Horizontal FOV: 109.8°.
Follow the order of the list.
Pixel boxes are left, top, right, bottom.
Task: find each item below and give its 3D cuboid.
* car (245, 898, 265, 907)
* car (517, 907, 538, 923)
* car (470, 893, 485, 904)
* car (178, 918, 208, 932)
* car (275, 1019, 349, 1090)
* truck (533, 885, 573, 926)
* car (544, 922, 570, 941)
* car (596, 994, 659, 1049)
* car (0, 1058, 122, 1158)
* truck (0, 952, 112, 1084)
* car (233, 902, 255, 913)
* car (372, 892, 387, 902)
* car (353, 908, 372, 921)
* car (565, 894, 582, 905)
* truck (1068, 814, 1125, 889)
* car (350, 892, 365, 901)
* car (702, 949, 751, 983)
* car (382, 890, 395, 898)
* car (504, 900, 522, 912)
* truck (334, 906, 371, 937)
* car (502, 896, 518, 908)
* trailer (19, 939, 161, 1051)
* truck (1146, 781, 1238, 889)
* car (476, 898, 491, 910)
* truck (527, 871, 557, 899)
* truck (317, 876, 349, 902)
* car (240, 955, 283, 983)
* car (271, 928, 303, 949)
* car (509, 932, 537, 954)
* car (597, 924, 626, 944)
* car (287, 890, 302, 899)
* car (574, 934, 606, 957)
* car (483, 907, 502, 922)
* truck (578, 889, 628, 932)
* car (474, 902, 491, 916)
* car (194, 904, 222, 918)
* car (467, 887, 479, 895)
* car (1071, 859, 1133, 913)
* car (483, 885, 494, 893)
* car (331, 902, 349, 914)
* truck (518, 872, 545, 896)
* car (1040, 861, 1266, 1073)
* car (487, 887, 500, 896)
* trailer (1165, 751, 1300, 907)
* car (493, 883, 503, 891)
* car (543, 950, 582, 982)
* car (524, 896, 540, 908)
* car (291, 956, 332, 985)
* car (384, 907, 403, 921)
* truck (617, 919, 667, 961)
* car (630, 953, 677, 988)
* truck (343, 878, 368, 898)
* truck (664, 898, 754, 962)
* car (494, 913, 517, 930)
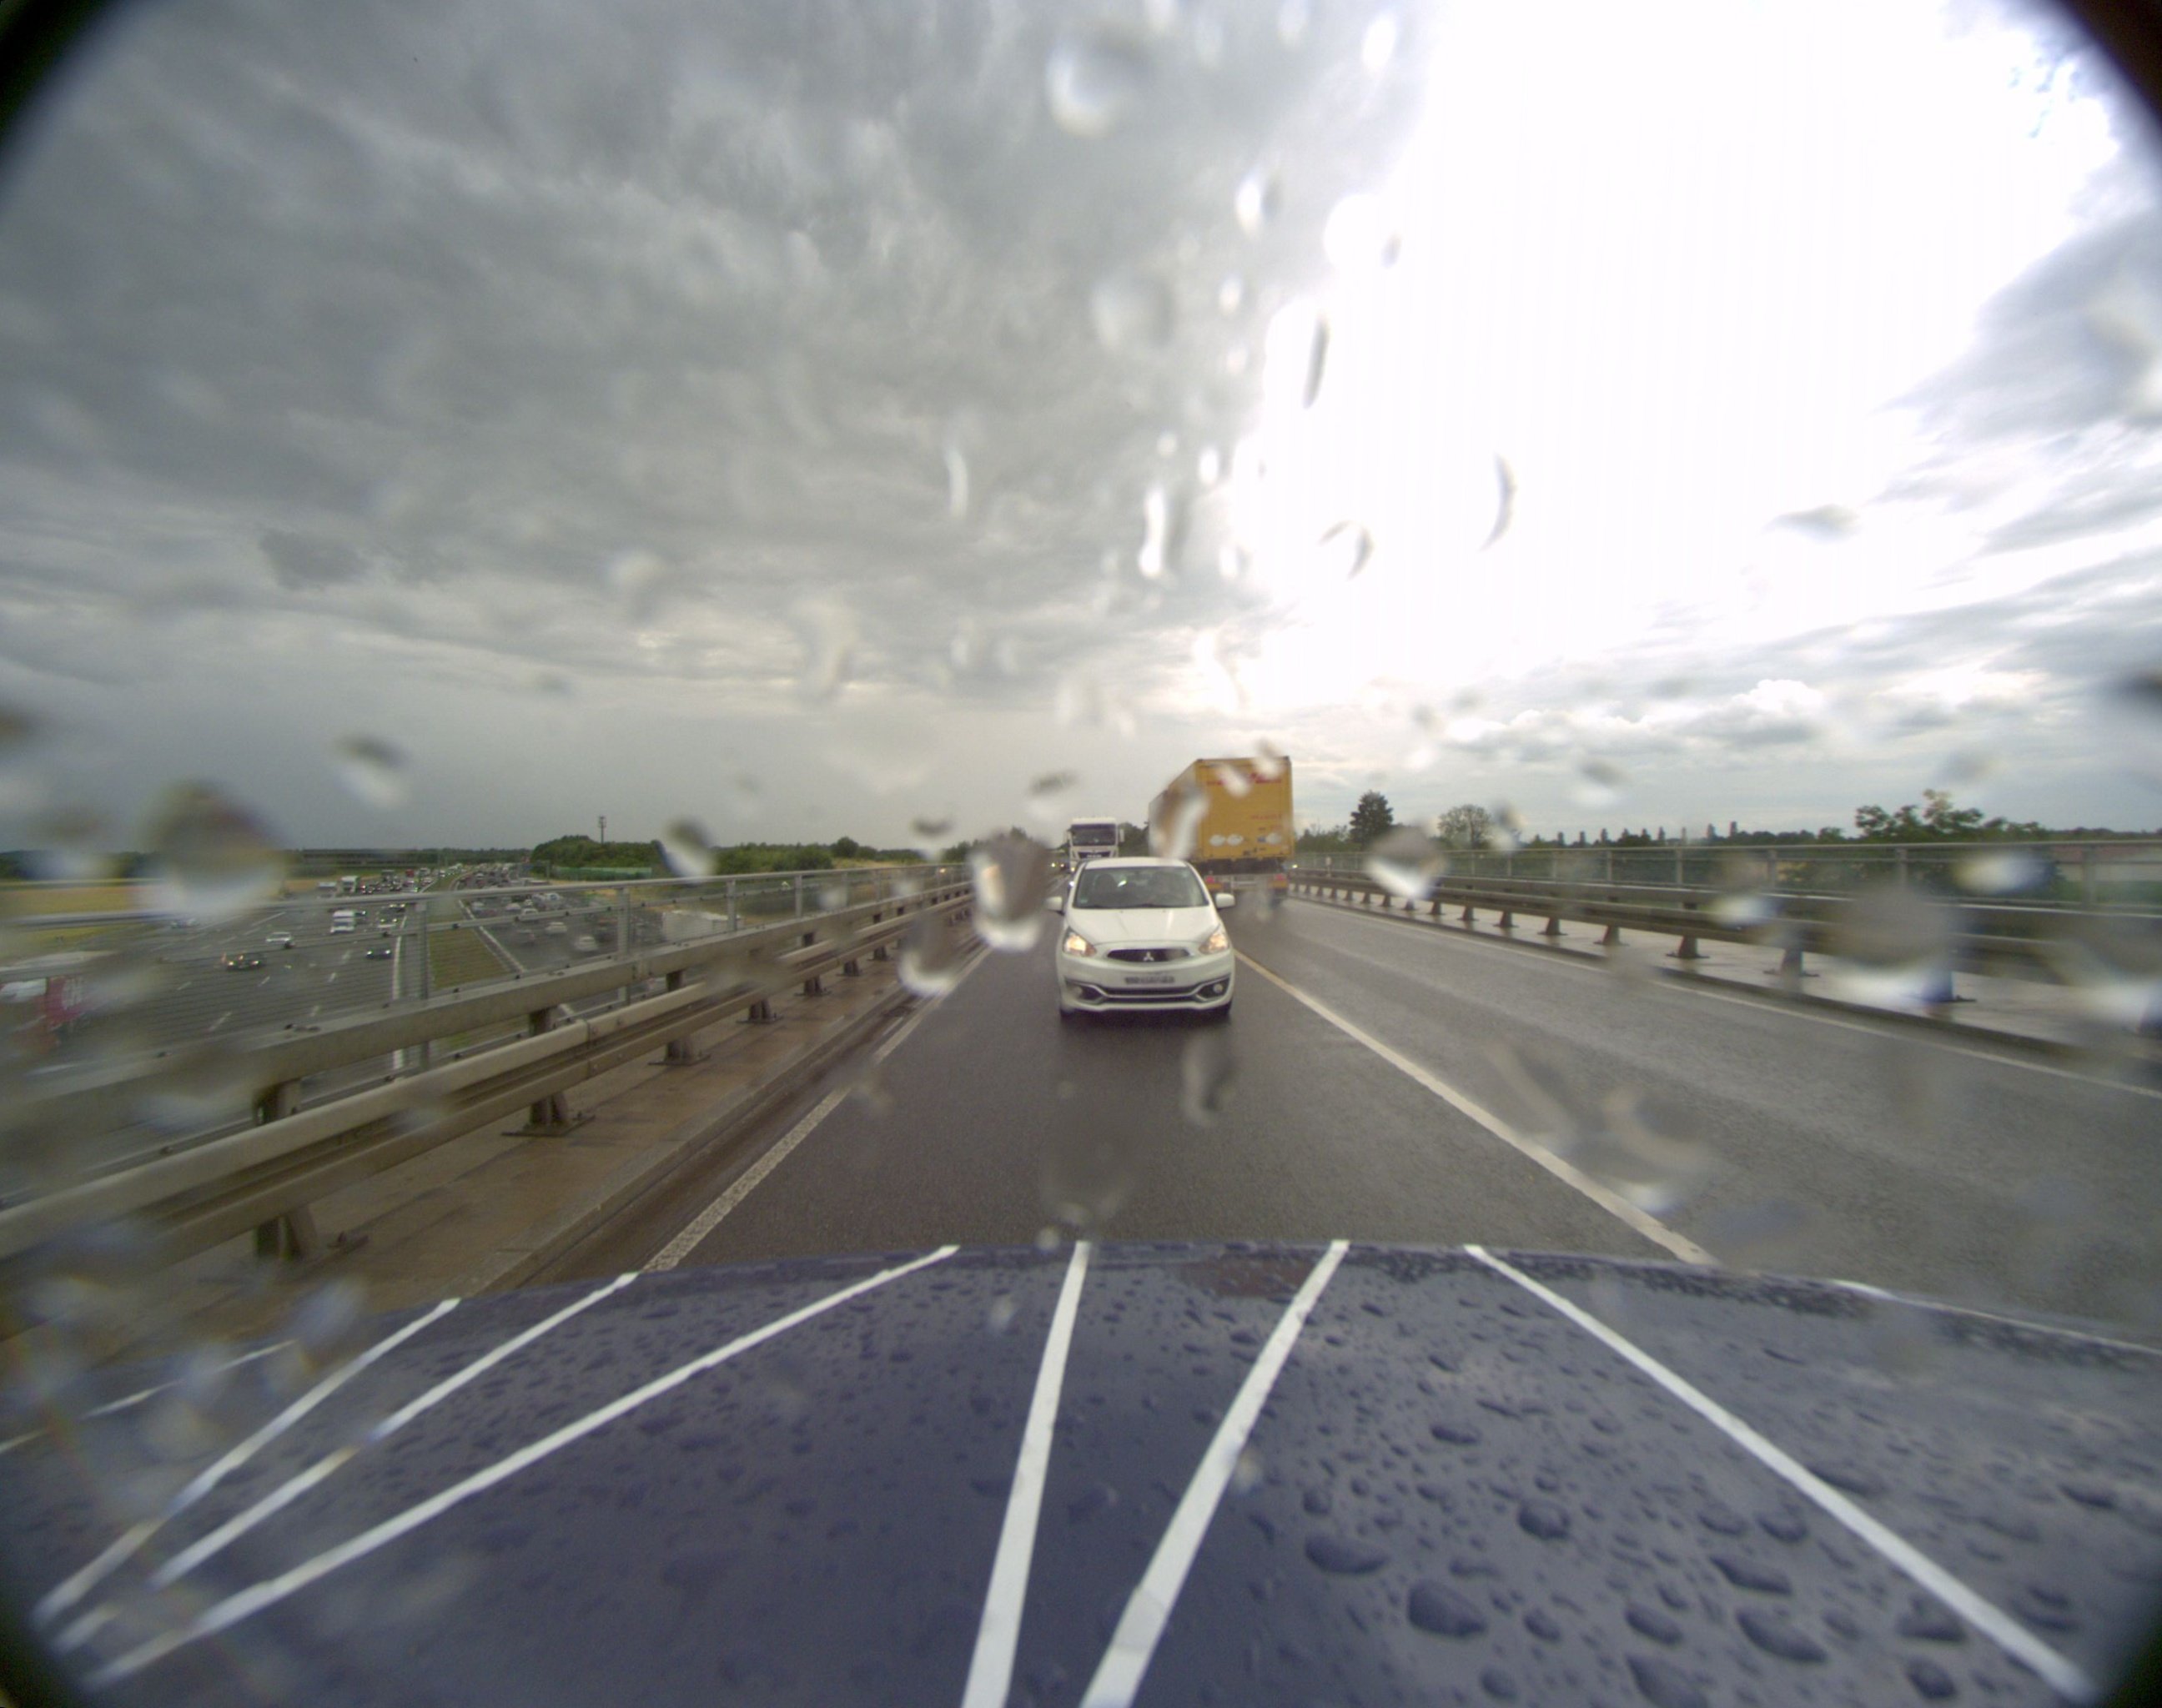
[{"bbox_3d":[-147.366,8.647,135.619,1.818,1.428,4.711,-3,1,-41],"label":"car"},{"bbox_3d":[-75.003,8.244,102.909,1.860,1.764,4.711,-3,1,-40],"label":"car"},{"bbox_3d":[-113.610,8.401,143.019,1.860,1.764,4.711,-3,1,-40],"label":"car"},{"bbox_3d":[-114.813,9.139,98.302,1.818,1.428,4.711,-3,1,-41],"label":"car"},{"bbox_3d":[-32.696,8.447,32.429,1.818,1.836,4.711,-3,1,-41],"label":"car"},{"bbox_3d":[-81.780,7.786,117.492,3.302,5.411,15.587,-3,1,-41],"label":"truck"},{"bbox_3d":[-59.815,8.831,86.730,1.860,1.659,4.711,-3,1,-40],"label":"car"},{"bbox_3d":[-22.423,8.183,37.507,1.860,1.659,4.711,-3,1,-40],"label":"car"},{"bbox_3d":[-33.966,8.311,25.191,1.818,1.873,4.711,-3,1,-41],"label":"car"},{"bbox_3d":[-48.278,7.336,34.871,2.691,4.600,9.727,-3,1,-41],"label":"truck"},{"bbox_3d":[-138.758,8.892,125.963,1.818,1.428,4.711,-3,1,-41],"label":"car"},{"bbox_3d":[-139.358,8.592,150.926,1.860,1.659,4.711,-3,1,-40],"label":"car"},{"bbox_3d":[-108.546,9.118,114.866,1.818,1.659,4.711,-3,1,-41],"label":"car"},{"bbox_3d":[-91.917,8.210,137.553,1.860,1.764,4.711,-3,1,-40],"label":"car"},{"bbox_3d":[0.697,-0.325,41.101,2.631,3.537,8.473,-2,3,-1],"label":"truck"},{"bbox_3d":[-150.510,8.759,158.029,1.860,1.659,4.711,-3,1,-40],"label":"car"},{"bbox_3d":[-24.490,7.644,52.398,1.860,1.659,4.711,-3,1,-40],"label":"car"},{"bbox_3d":[-151.306,8.756,165.993,1.860,1.659,4.711,-3,1,-40],"label":"car"},{"bbox_3d":[-91.952,8.390,122.989,1.860,1.764,4.711,-3,1,-40],"label":"car"},{"bbox_3d":[-90.372,8.281,94.341,2.601,3.161,8.373,-3,1,-40],"label":"truck"},{"bbox_3d":[-103.255,8.660,137.396,1.860,1.764,4.711,-3,1,-40],"label":"car"},{"bbox_3d":[-54.675,7.521,42.260,2.691,4.602,9.882,-3,1,-41],"label":"trailer"},{"bbox_3d":[4.616,-0.750,33.633,2.689,3.994,10.054,-2,0,1],"label":"truck"},{"bbox_3d":[-104.291,8.754,132.569,1.860,1.764,4.711,-3,1,-40],"label":"car"},{"bbox_3d":[-113.357,6.386,159.740,3.499,5.321,15.587,-3,1,-41],"label":"truck"},{"bbox_3d":[-154.444,7.105,156.975,2.799,4.872,12.723,-3,1,-37],"label":"truck"},{"bbox_3d":[-67.314,9.404,62.475,1.818,1.659,4.711,-3,1,-41],"label":"car"},{"bbox_3d":[-83.681,8.859,80.166,1.818,1.659,4.711,-3,1,-41],"label":"car"},{"bbox_3d":[-55.145,8.772,75.028,1.860,1.659,4.711,-3,1,-40],"label":"car"},{"bbox_3d":[-50.104,8.477,81.043,1.860,1.659,4.711,-3,1,-40],"label":"car"},{"bbox_3d":[-159.637,8.199,154.235,1.818,1.428,4.711,-3,1,-41],"label":"car"},{"bbox_3d":[-46.034,8.533,71.174,1.860,1.659,4.711,-3,1,-40],"label":"car"},{"bbox_3d":[-83.578,8.572,107.855,1.860,1.659,4.711,-3,1,-40],"label":"car"},{"bbox_3d":[-66.272,7.625,105.189,3.302,5.135,15.587,-3,1,-41],"label":"truck"},{"bbox_3d":[-91.671,8.453,116.407,1.860,1.764,4.711,-3,1,-40],"label":"car"},{"bbox_3d":[-124.089,8.133,108.075,1.860,1.659,4.711,-3,1,-40],"label":"car"},{"bbox_3d":[-142.120,8.578,177.561,1.860,1.764,4.711,-3,1,-40],"label":"car"},{"bbox_3d":[0.606,0.911,23.207,1.675,1.367,4.129,-2,1,0],"label":"car"},{"bbox_3d":[-147.465,8.807,189.079,1.860,1.764,4.711,-3,1,-40],"label":"car"},{"bbox_3d":[-123.557,9.033,126.716,1.860,1.659,4.711,-3,1,-40],"label":"car"},{"bbox_3d":[-129.885,6.892,179.535,3.499,5.321,15.587,-3,1,-41],"label":"truck"},{"bbox_3d":[0.564,0.889,7.883,1.675,1.476,4.129,-2,1,0],"label":"car"},{"bbox_3d":[-128.008,8.173,165.585,1.860,1.764,4.711,-3,1,-40],"label":"car"},{"bbox_3d":[4.482,-0.685,24.350,2.689,4.051,8.485,-2,0,1],"label":"trailer"},{"bbox_3d":[-152.127,8.622,198.225,1.860,1.764,4.711,-3,1,-40],"label":"car"},{"bbox_3d":[-38.260,8.203,56.035,1.860,1.659,4.711,-3,1,-40],"label":"car"},{"bbox_3d":[-97.397,8.459,134.747,1.860,1.764,4.711,-3,1,-40],"label":"car"},{"bbox_3d":[-61.457,9.256,60.739,1.818,1.659,4.711,-3,1,-41],"label":"car"},{"bbox_3d":[-101.941,8.900,112.677,1.860,1.659,4.711,-3,1,-40],"label":"car"},{"bbox_3d":[-39.908,7.662,68.910,2.216,2.949,9.283,-3,1,-40],"label":"truck"},{"bbox_3d":[-28.932,7.821,51.354,1.860,1.659,4.711,-3,1,-40],"label":"car"},{"bbox_3d":[-180.911,8.325,189.456,2.799,4.591,12.723,-3,1,-37],"label":"truck"},{"bbox_3d":[-34.173,6.653,69.250,3.610,4.511,15.588,-3,1,-39],"label":"truck"},{"bbox_3d":[-69.815,8.177,92.149,1.860,1.659,4.711,-3,1,-40],"label":"car"}]
